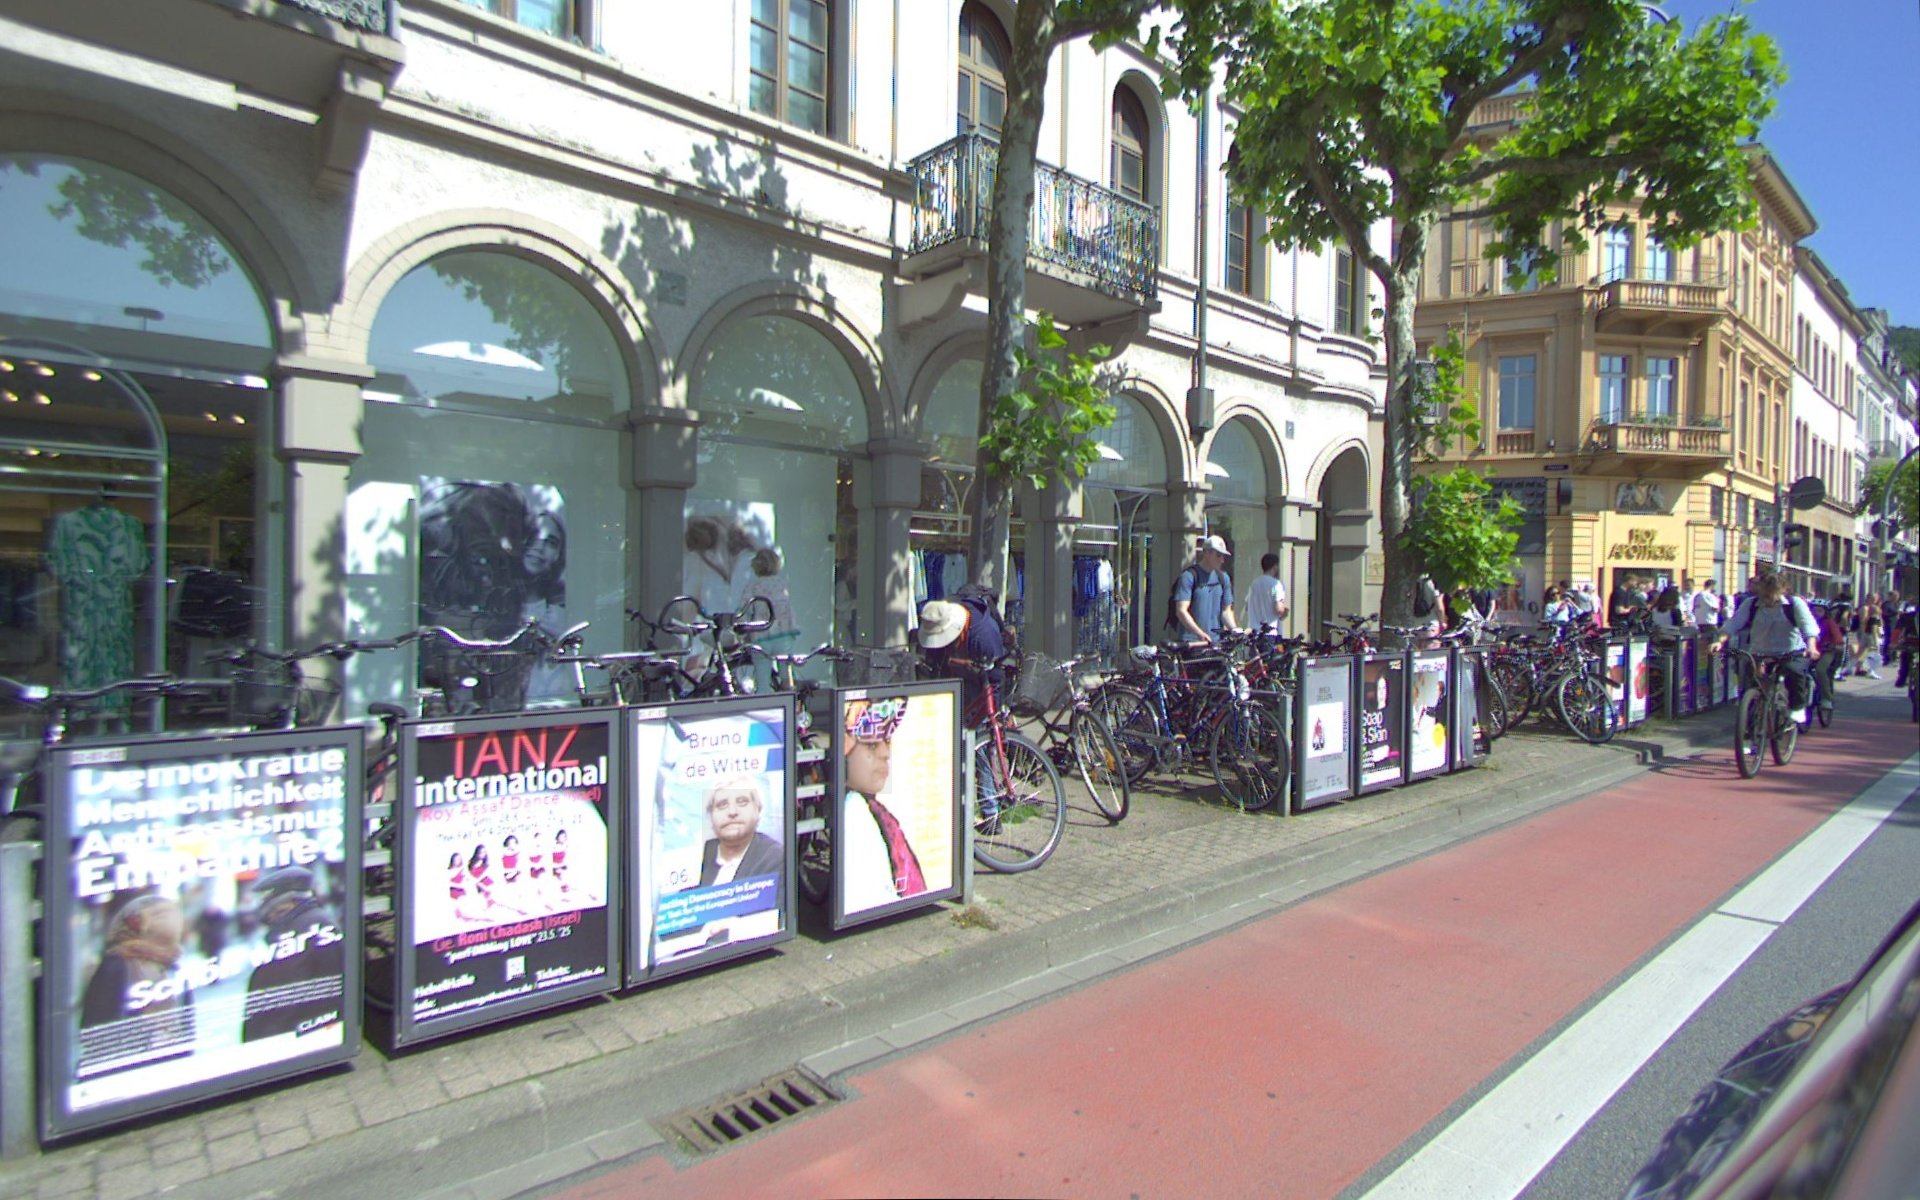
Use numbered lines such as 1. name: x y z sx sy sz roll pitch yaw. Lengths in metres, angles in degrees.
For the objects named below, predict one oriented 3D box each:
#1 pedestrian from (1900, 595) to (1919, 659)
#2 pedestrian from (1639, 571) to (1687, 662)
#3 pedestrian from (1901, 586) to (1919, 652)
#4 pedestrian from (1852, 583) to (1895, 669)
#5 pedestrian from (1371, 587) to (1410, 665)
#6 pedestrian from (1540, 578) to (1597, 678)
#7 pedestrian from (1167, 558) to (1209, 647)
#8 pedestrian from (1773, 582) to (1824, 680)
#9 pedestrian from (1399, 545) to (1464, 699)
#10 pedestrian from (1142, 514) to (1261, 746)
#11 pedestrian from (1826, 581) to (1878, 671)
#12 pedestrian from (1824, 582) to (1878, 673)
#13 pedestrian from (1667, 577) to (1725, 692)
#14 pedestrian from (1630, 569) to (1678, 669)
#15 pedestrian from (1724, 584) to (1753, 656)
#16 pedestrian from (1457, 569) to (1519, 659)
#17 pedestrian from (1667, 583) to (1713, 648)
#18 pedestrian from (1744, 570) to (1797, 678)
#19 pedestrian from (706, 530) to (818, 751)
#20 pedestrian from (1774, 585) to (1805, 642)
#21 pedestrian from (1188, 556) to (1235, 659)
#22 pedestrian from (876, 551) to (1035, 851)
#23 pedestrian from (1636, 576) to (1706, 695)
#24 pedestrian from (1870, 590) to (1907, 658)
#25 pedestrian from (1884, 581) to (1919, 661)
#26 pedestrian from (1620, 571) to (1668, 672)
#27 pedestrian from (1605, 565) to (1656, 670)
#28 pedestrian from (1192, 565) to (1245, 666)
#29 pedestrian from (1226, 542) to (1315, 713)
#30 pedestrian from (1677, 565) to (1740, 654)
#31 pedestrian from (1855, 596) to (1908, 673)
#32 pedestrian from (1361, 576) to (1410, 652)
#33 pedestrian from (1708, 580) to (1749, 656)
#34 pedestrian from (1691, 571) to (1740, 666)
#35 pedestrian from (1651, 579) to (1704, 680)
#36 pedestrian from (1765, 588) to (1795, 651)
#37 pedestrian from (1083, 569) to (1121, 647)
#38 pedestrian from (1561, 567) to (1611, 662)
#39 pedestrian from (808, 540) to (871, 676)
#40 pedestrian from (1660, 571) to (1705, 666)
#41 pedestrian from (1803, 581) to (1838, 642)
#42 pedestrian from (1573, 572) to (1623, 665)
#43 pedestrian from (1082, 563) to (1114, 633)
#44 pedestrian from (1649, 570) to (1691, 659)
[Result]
1. pedestrian: 24.970 0.700 26.395 0.528 1.615 0.581 3 3 37
2. pedestrian: 14.712 0.344 21.192 0.611 1.869 0.664 0 -1 -41
3. pedestrian: 27.017 0.529 28.454 0.645 1.801 0.615 2 3 32
4. pedestrian: 19.338 0.553 21.441 0.576 1.752 0.708 4 1 41
5. pedestrian: 10.088 0.598 23.725 0.687 1.777 0.577 0 -1 -41
6. pedestrian: 9.989 0.452 16.626 0.571 1.604 0.518 -1 -1 -2
7. pedestrian: 4.901 0.060 21.718 0.618 1.869 0.781 -1 -1 34
8. pedestrian: 15.070 0.539 18.194 0.658 1.705 0.577 0 2 -44
9. pedestrian: 6.014 0.275 12.907 0.592 1.906 0.545 0 -1 -43
10. pedestrian: 2.132 0.251 8.928 0.764 1.926 0.701 0 -1 -43
11. pedestrian: 17.851 0.496 20.264 0.599 1.757 0.642 1 1 26
12. pedestrian: 16.968 0.515 19.286 0.572 1.706 0.721 -1 -1 26
13. pedestrian: 11.236 0.508 15.454 0.763 1.706 0.577 0 -1 -44
14. pedestrian: 12.525 0.341 18.268 0.612 1.762 0.577 0 -1 -44
15. pedestrian: 18.576 0.465 24.153 0.470 1.710 0.443 0 1 -40
16. pedestrian: 10.824 0.280 20.747 1.163 1.780 0.622 0 -1 -34
17. pedestrian: 20.888 0.434 28.965 0.733 1.828 0.736 1 0 -9
18. pedestrian: 14.085 0.401 17.584 0.688 1.807 0.577 0 2 -44
19. pedestrian: -1.631 0.315 8.321 0.664 1.718 0.658 0 -1 -40
20. pedestrian: 25.496 0.410 31.102 0.686 1.706 0.569 1 0 44
21. pedestrian: 4.446 0.132 17.915 0.594 1.787 0.623 0 -1 -7
22. pedestrian: -0.027 0.527 5.709 0.655 1.558 0.605 0 -1 -43
23. pedestrian: 10.444 0.512 14.875 0.568 1.706 0.621 -1 -1 5
24. pedestrian: 23.943 0.611 26.114 0.575 1.705 0.668 3 1 37
25. pedestrian: 23.089 0.506 24.729 0.575 1.897 0.671 4 2 37
26. pedestrian: 12.075 0.373 17.864 0.612 1.746 0.577 0 -1 -44
27. pedestrian: 11.224 0.285 16.939 0.612 1.706 0.577 0 -1 -44
28. pedestrian: 4.388 0.261 17.223 0.673 1.689 0.623 0 -1 -7
29. pedestrian: 3.461 0.296 11.284 0.764 1.816 0.634 0 -1 -43
30. pedestrian: 16.007 0.205 21.653 0.838 1.869 0.623 -1 -1 -3
31. pedestrian: 18.914 0.693 20.785 0.668 1.515 0.630 3 2 35
32. pedestrian: 9.532 0.308 22.664 0.611 1.668 0.797 0 -1 -41
33. pedestrian: 18.960 0.431 24.966 0.594 1.837 0.578 0 3 -39
34. pedestrian: 15.319 0.371 20.529 0.612 1.882 0.685 0 -1 -44
35. pedestrian: 11.679 0.469 16.477 0.612 1.604 0.577 0 -1 -44
36. pedestrian: 22.154 0.523 27.362 0.575 1.680 0.614 1 0 37
37. pedestrian: 3.138 0.171 22.344 0.619 1.690 0.570 -1 -2 39
38. pedestrian: 12.339 0.283 19.954 0.687 1.827 0.649 0 -1 -42
39. pedestrian: -1.415 0.092 11.878 0.502 1.553 0.531 -1 -1 42
40. pedestrian: 14.227 0.355 19.919 0.685 1.825 0.577 0 -1 -44
41. pedestrian: 26.030 0.343 30.622 0.754 1.815 0.848 1 0 38
42. pedestrian: 12.924 0.369 20.515 0.611 1.840 0.631 -1 -1 5
43. pedestrian: 3.725 -0.050 27.261 0.611 1.869 0.577 0 -1 -41
44. pedestrian: 15.222 0.312 21.709 0.611 1.869 0.577 0 -1 -41
